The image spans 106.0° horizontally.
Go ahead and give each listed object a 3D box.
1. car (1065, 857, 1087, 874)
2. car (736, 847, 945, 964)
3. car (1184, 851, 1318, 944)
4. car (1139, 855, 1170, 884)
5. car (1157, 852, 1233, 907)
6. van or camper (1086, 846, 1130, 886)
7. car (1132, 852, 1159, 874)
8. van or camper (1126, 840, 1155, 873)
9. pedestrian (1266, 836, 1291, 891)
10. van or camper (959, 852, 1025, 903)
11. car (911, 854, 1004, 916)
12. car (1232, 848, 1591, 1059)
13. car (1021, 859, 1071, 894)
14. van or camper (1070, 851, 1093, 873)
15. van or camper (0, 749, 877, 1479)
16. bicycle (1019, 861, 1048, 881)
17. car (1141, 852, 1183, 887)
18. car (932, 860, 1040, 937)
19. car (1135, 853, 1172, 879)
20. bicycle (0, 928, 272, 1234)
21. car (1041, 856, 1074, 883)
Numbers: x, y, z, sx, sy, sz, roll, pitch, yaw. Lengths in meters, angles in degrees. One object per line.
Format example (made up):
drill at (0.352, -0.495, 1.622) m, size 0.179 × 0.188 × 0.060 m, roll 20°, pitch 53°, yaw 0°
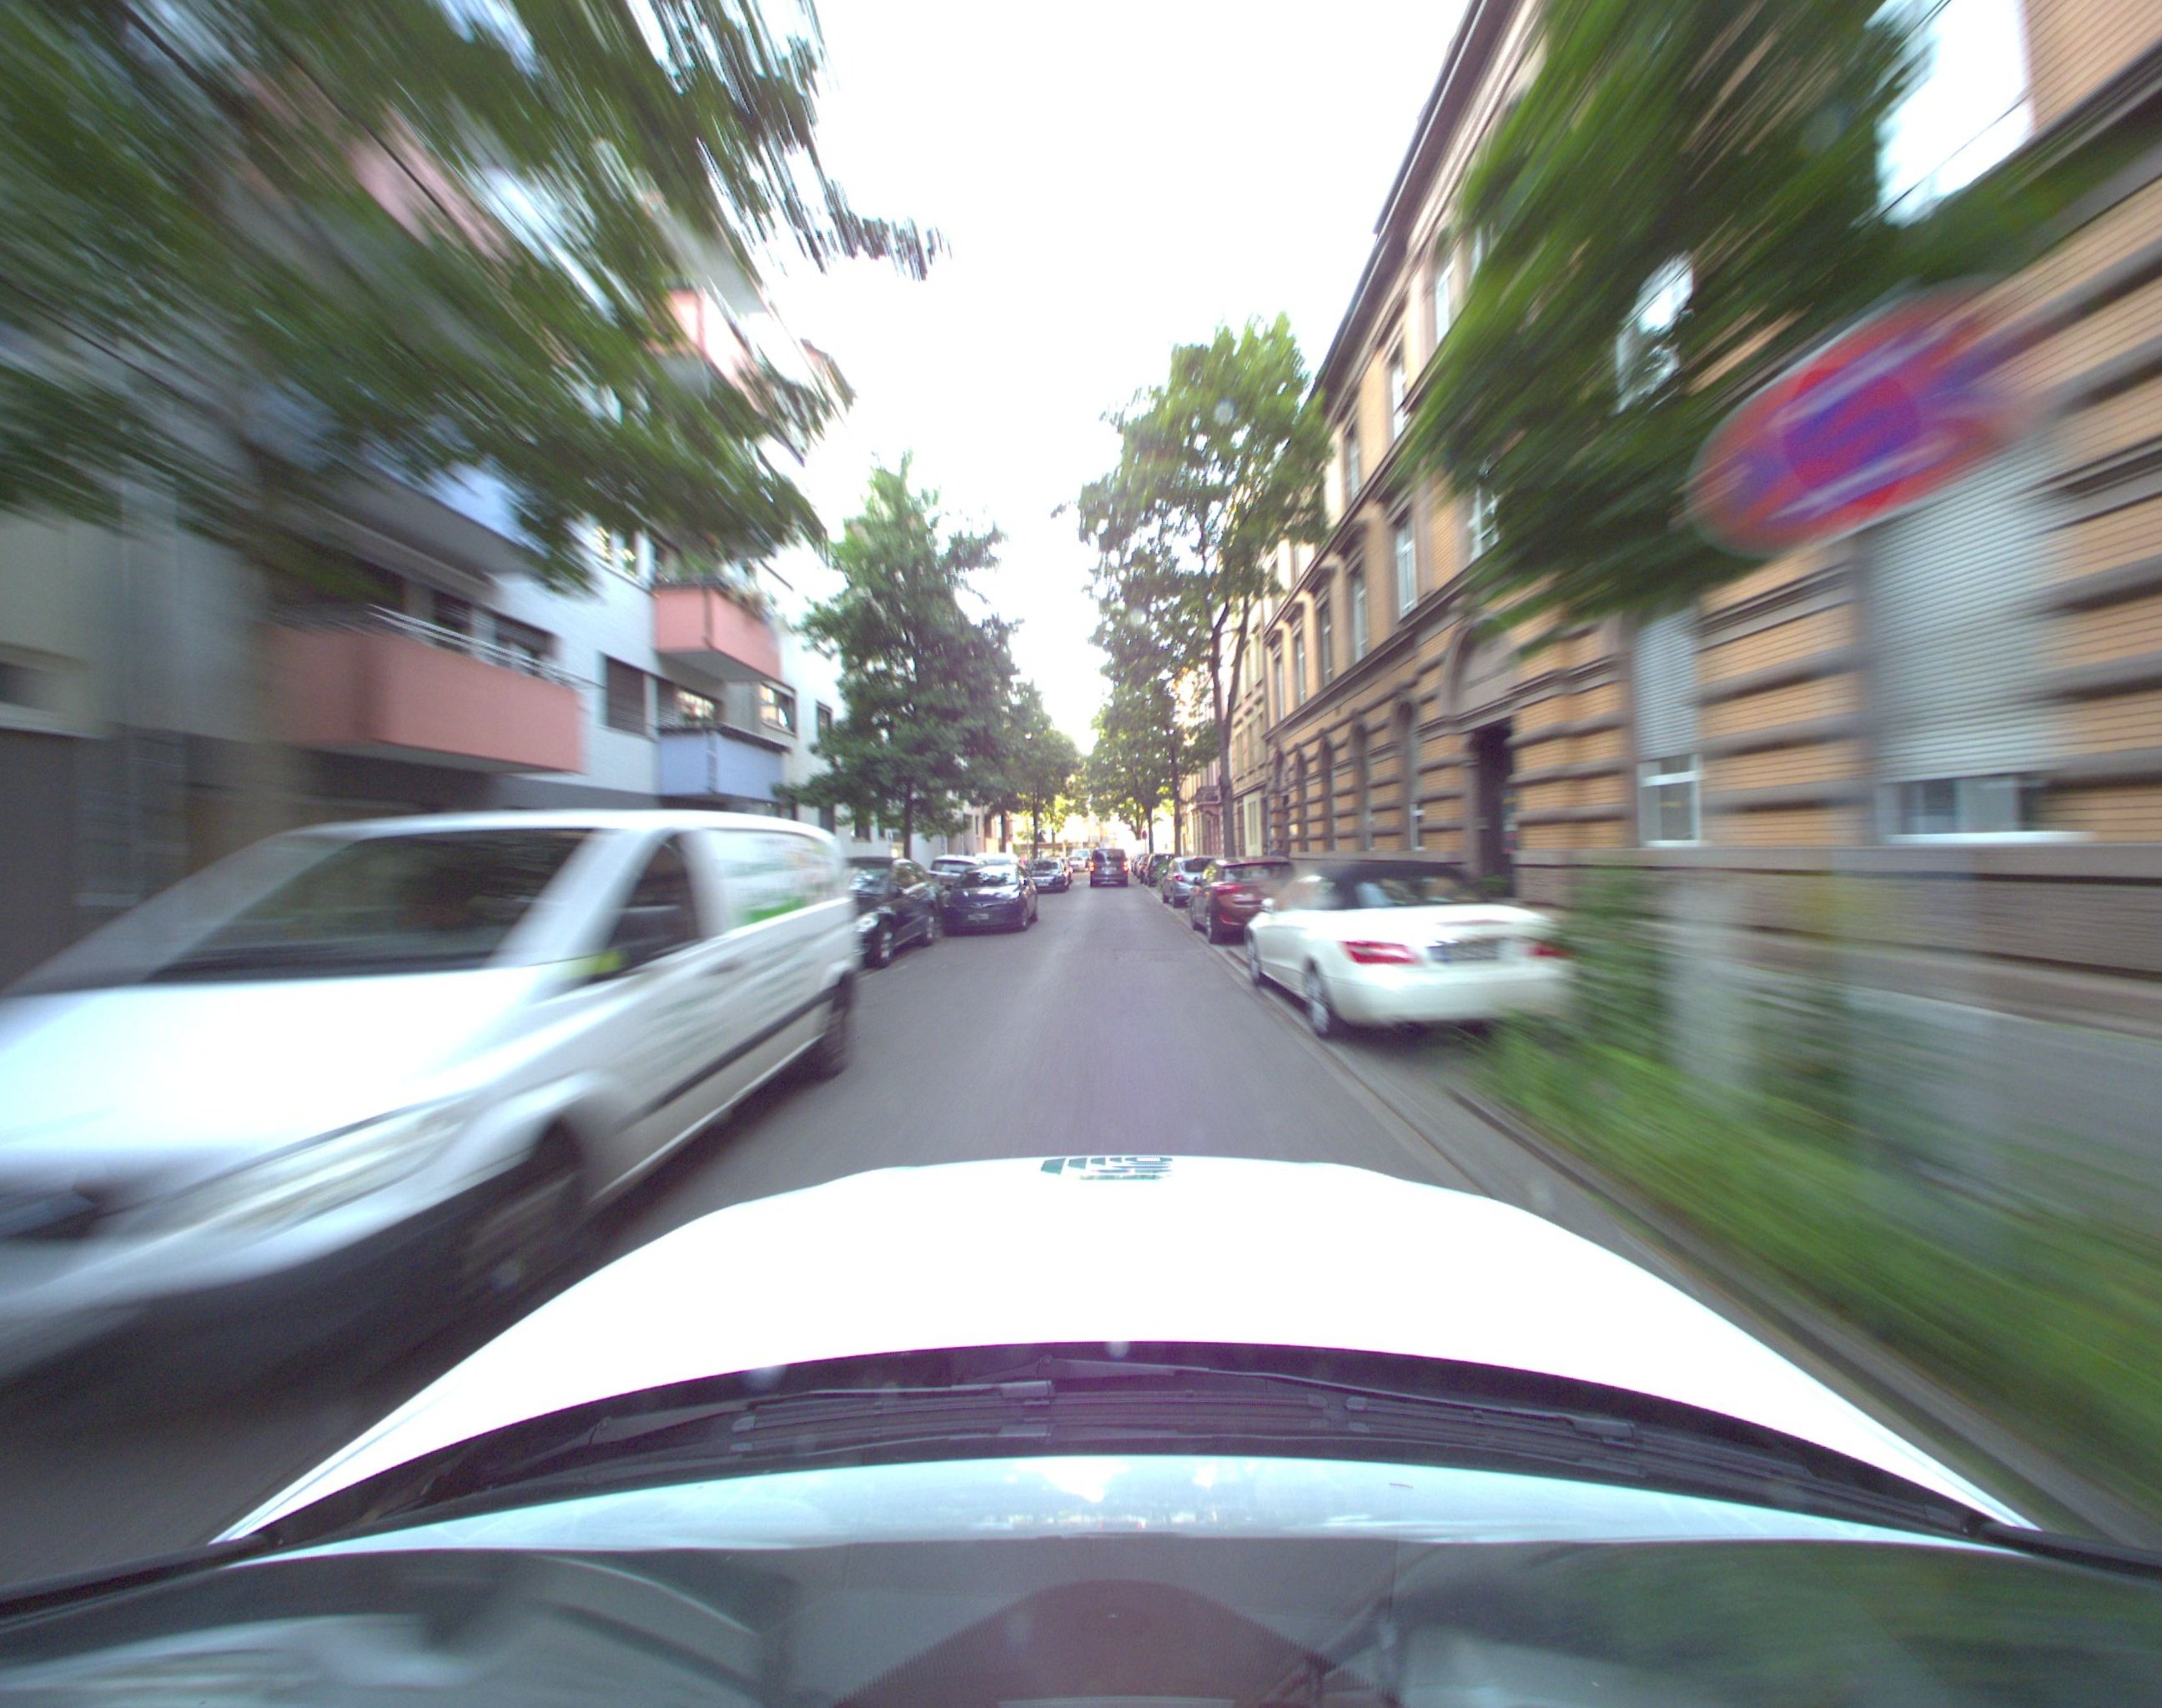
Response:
car at (-0.424, 1.006, 71.253) m, size 1.735 × 1.404 × 3.376 m, roll -2°, pitch 0°, yaw 2°
car at (-3.828, 0.736, 14.013) m, size 1.986 × 1.646 × 4.924 m, roll 0°, pitch 0°, yaw 2°
car at (3.030, 0.725, 15.329) m, size 1.715 × 1.450 × 4.216 m, roll -2°, pitch -1°, yaw 2°
car at (3.915, 0.791, 43.539) m, size 1.543 × 1.496 × 3.615 m, roll -1°, pitch 0°, yaw 5°
car at (3.426, 0.727, 25.171) m, size 1.692 × 1.483 × 3.999 m, roll -3°, pitch 0°, yaw 0°
van or camper at (1.396, 0.586, 40.892) m, size 2.026 × 1.897 × 4.275 m, roll -1°, pitch 0°, yaw 4°
car at (4.417, 0.593, 56.266) m, size 1.743 × 1.471 × 3.778 m, roll -1°, pitch 0°, yaw 2°
van or camper at (4.842, 0.194, 67.248) m, size 1.987 × 2.599 × 5.424 m, roll -1°, pitch 0°, yaw 1°
pedestrian at (6.047, 0.284, 24.974) m, size 0.624 × 1.648 × 0.532 m, roll -1°, pitch 0°, yaw 2°
van or camper at (-3.293, 0.832, 30.994) m, size 1.924 × 1.760 × 4.466 m, roll 2°, pitch 0°, yaw 1°
car at (-3.684, 0.871, 25.081) m, size 2.027 × 1.672 × 4.649 m, roll 2°, pitch 0°, yaw 1°
car at (2.731, 0.693, 7.995) m, size 1.687 × 1.401 × 4.647 m, roll -2°, pitch 0°, yaw 1°
car at (-1.493, 0.953, 36.442) m, size 1.839 × 1.451 × 4.505 m, roll -1°, pitch 0°, yaw 2°
van or camper at (0.076, 0.711, 76.349) m, size 1.854 × 1.983 × 4.274 m, roll -2°, pitch 0°, yaw 3°
van or camper at (-2.692, 0.679, 4.473) m, size 1.870 × 1.843 × 4.752 m, roll -2°, pitch 0°, yaw 0°
bicycle at (-3.001, 1.063, 51.273) m, size 1.839 × 1.195 × 0.598 m, roll 0°, pitch 0°, yaw -44°
car at (3.876, 0.723, 39.239) m, size 1.606 × 1.559 × 3.766 m, roll -2°, pitch 0°, yaw 0°
car at (-2.027, 0.917, 18.716) m, size 1.824 × 1.517 × 4.517 m, roll -1°, pitch -1°, yaw 1°
car at (4.149, 0.683, 47.260) m, size 1.710 × 1.403 × 3.812 m, roll -2°, pitch 0°, yaw -1°
bicycle at (-4.805, 0.997, 3.510) m, size 0.690 × 1.163 × 1.834 m, roll -2°, pitch 0°, yaw 44°
car at (-1.273, 0.853, 45.758) m, size 1.624 × 1.430 × 3.543 m, roll -2°, pitch 0°, yaw 1°
